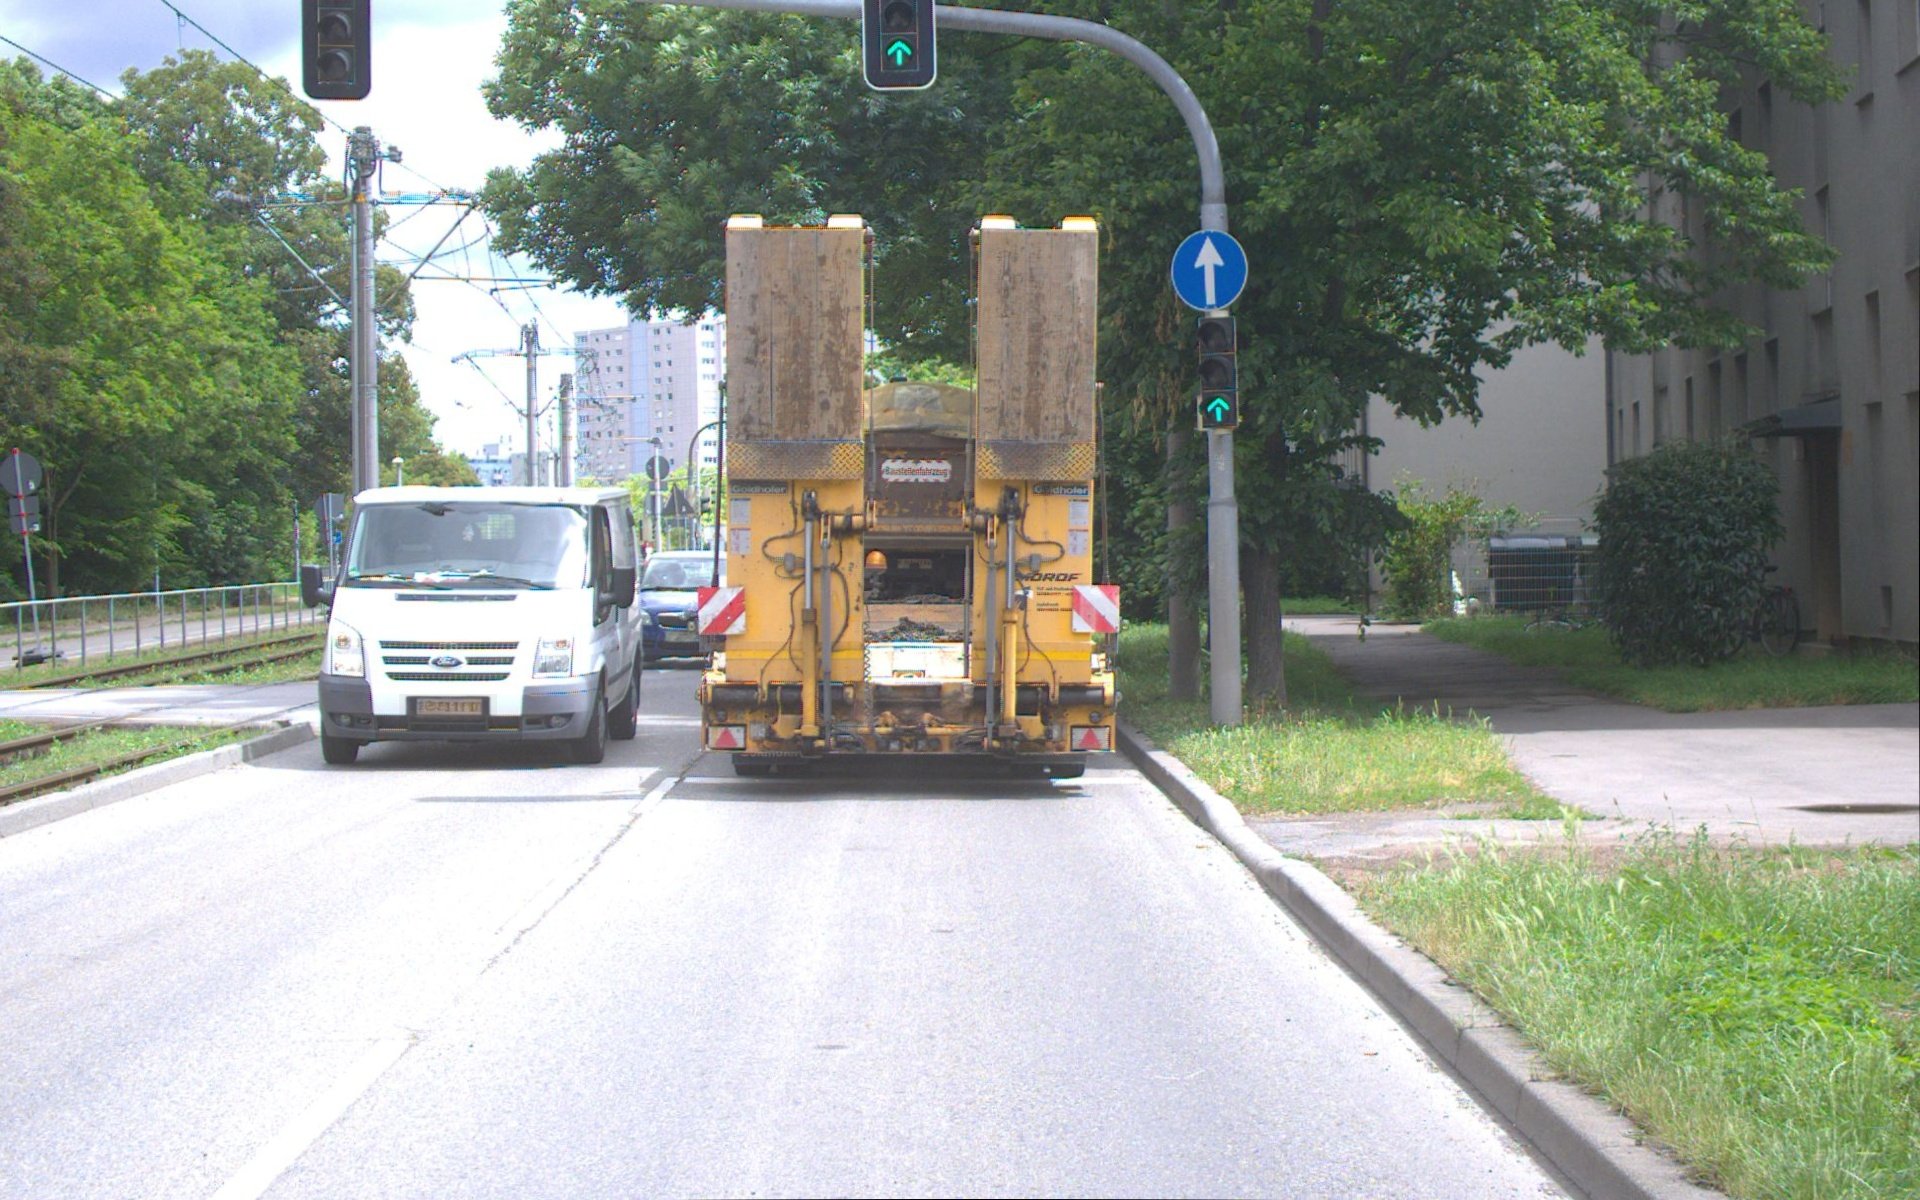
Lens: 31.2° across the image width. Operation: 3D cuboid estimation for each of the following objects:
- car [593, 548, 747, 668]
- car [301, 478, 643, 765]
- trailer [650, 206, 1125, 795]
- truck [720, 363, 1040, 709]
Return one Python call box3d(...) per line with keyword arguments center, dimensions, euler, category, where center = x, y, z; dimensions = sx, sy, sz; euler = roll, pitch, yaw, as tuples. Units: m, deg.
box3d(center=(-3.734, 0.065, 44.774), dimensions=(1.680, 1.445, 4.074), euler=(-1, 1, -1), category="car")
box3d(center=(-3.486, 0.104, 25.323), dimensions=(1.942, 1.933, 4.317), euler=(0, 1, -1), category="car")
box3d(center=(-0.602, -0.693, 26.153), dimensions=(2.822, 3.512, 11.053), euler=(0, 1, -2), category="trailer")
box3d(center=(-0.813, -0.662, 35.514), dimensions=(2.917, 3.156, 7.681), euler=(1, 1, -1), category="truck")
